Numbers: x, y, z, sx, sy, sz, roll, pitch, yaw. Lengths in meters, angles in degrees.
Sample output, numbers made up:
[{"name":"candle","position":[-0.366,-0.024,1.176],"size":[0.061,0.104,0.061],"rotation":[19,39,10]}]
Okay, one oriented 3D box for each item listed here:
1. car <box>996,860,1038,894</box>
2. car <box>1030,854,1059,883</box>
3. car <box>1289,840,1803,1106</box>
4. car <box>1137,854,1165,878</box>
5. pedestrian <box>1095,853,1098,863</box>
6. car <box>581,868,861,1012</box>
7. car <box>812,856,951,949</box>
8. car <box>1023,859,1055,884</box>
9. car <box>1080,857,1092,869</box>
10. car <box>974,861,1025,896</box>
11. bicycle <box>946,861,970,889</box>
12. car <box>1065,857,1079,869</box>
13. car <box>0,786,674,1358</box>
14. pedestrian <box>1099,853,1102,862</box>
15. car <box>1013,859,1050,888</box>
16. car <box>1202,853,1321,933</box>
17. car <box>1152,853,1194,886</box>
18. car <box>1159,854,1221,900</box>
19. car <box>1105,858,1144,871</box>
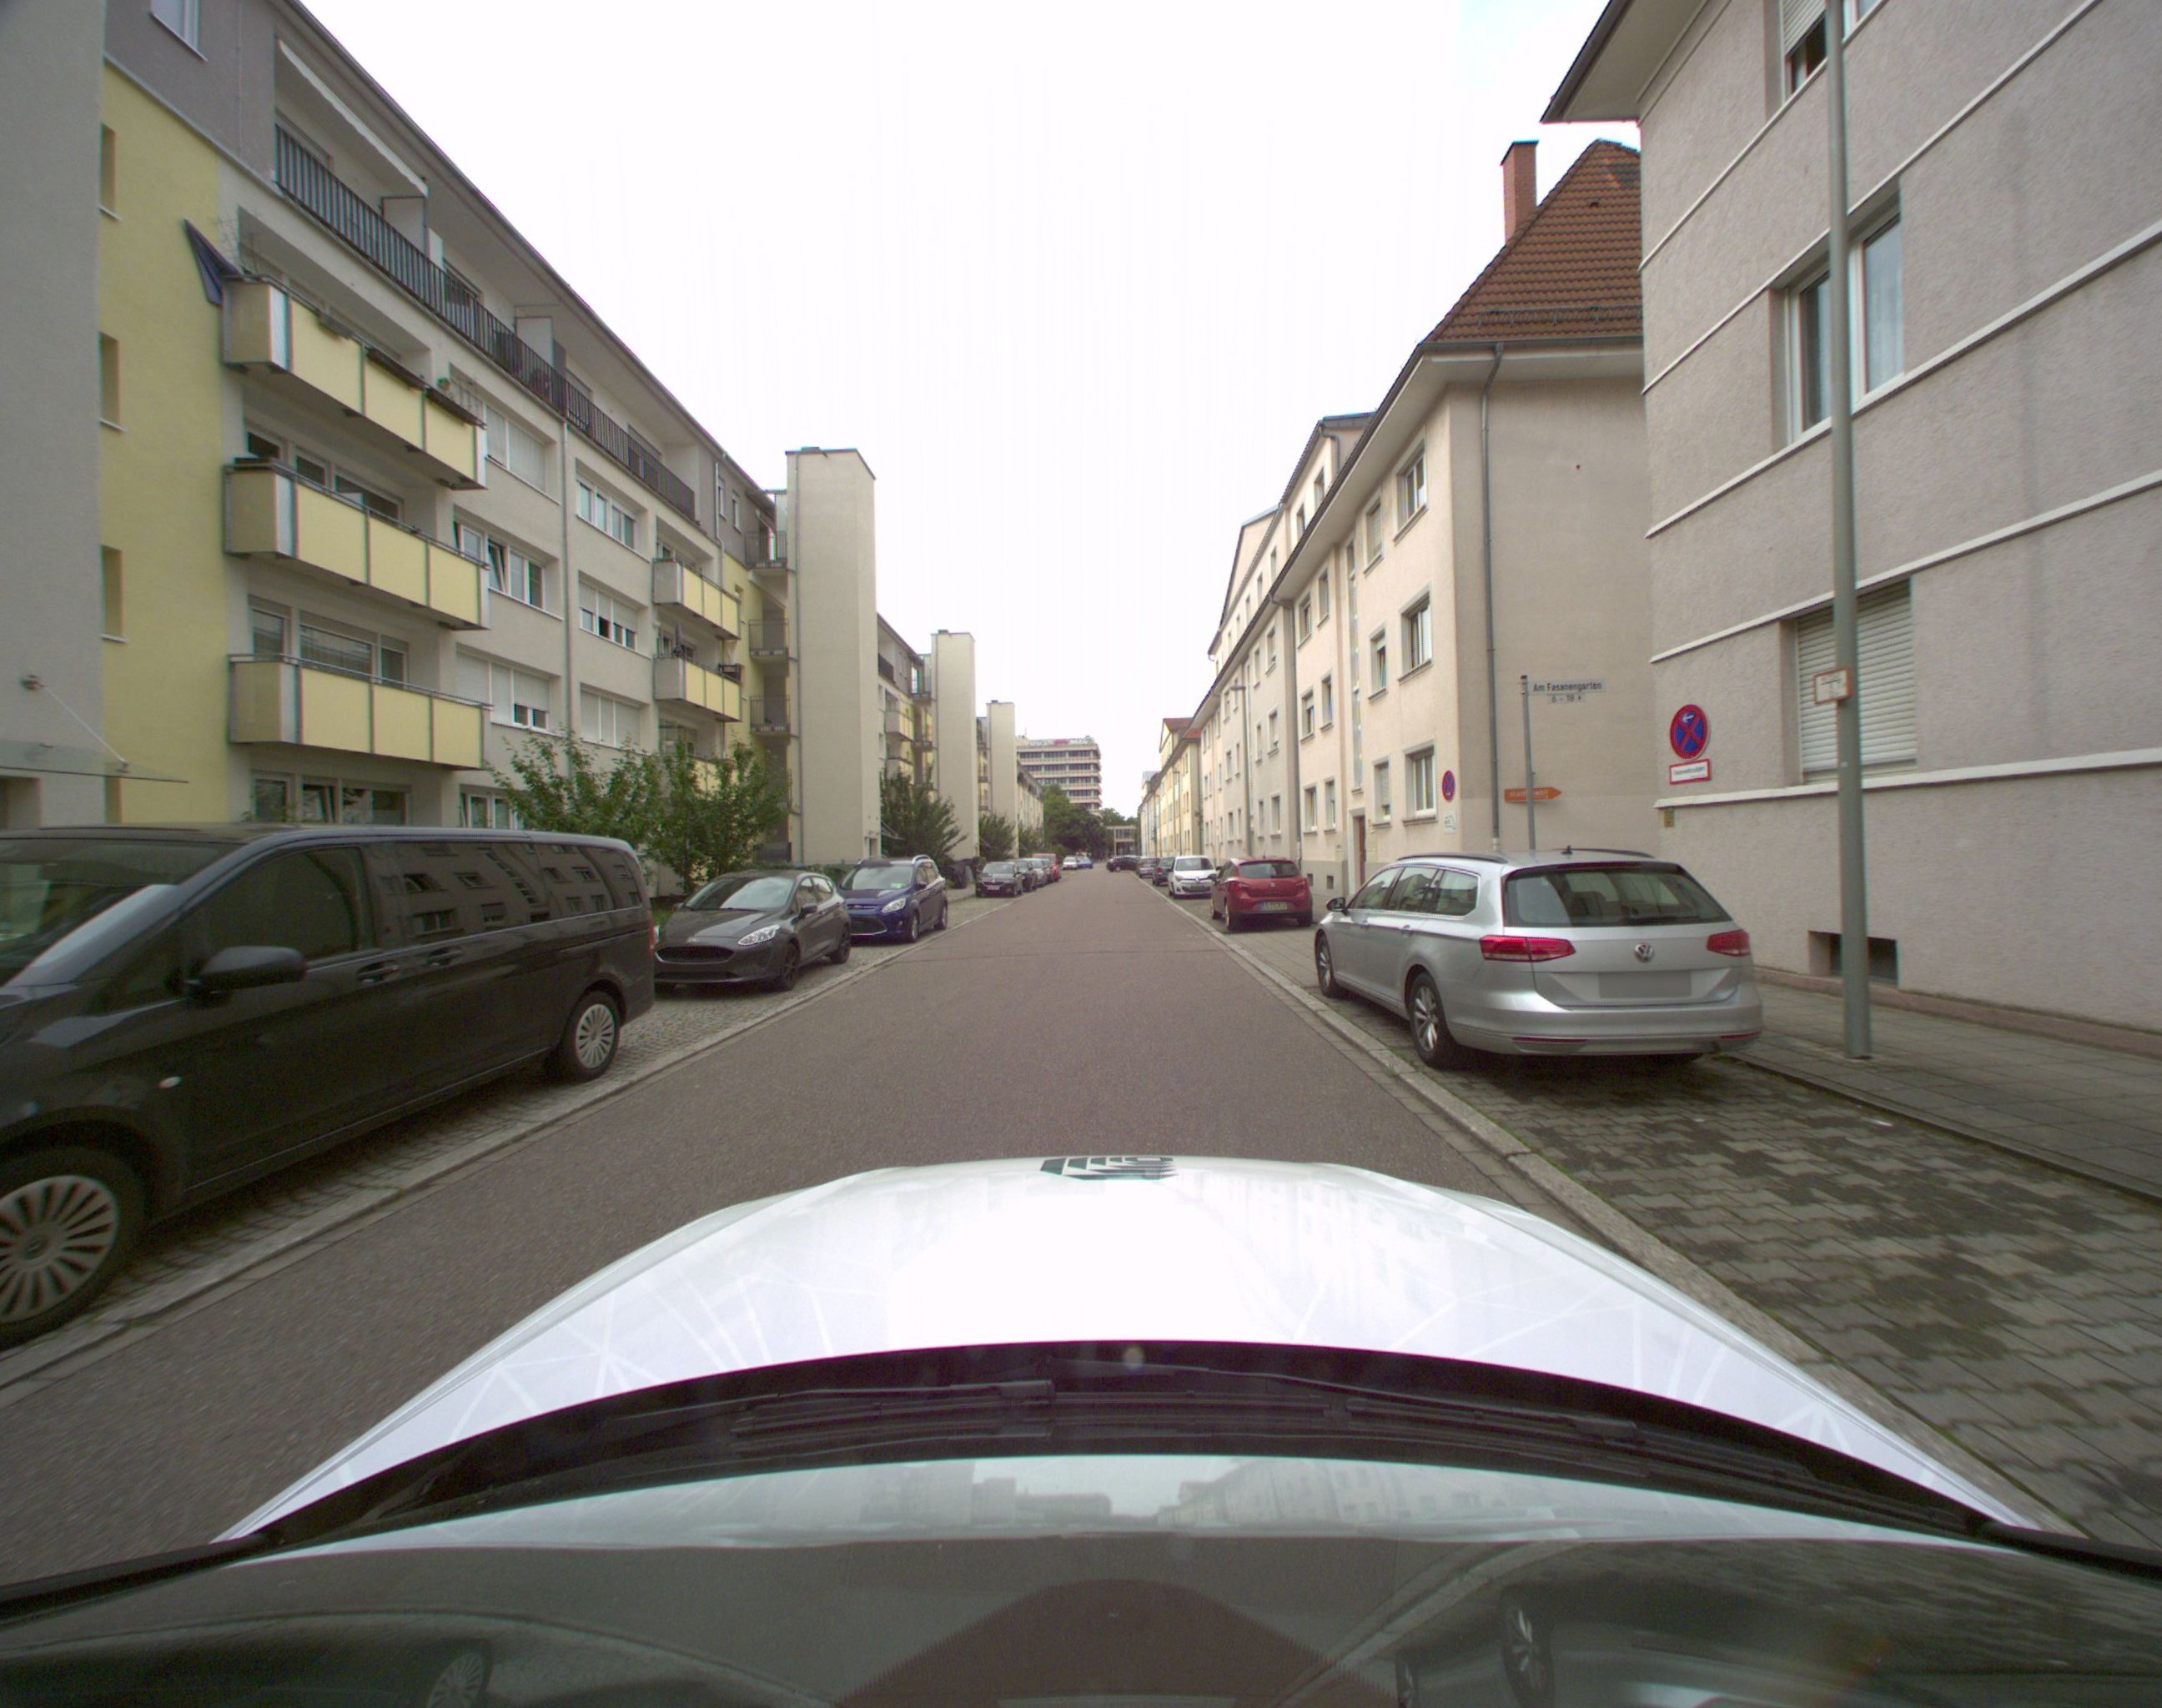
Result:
[{"name":"car","position":[-3.123,1.108,40.612],"size":[1.665,1.564,3.666],"rotation":[-1,0,2]},{"name":"car","position":[-2.505,0.963,56.845],"size":[1.665,1.938,3.743],"rotation":[-1,0,2]},{"name":"car","position":[3.188,0.662,6.856],"size":[1.749,1.467,4.601],"rotation":[-1,0,1]},{"name":"car","position":[4.927,0.839,57.785],"size":[1.812,1.577,3.886],"rotation":[-1,0,2]},{"name":"pedestrian","position":[3.316,0.887,178.714],"size":[0.627,2.013,0.683],"rotation":[1,0,1]},{"name":"car","position":[-4.471,0.967,10.947],"size":[1.824,1.459,4.259],"rotation":[-1,0,0]},{"name":"car","position":[-3.939,0.878,16.861],"size":[1.763,1.643,4.354],"rotation":[-1,0,0]},{"name":"car","position":[-2.619,1.107,51.739],"size":[1.665,1.487,3.743],"rotation":[-1,0,2]},{"name":"car","position":[0.662,1.181,108.392],"size":[1.534,1.450,3.740],"rotation":[-1,0,-1]},{"name":"car","position":[-3.422,1.018,34.870],"size":[1.665,1.352,3.818],"rotation":[-1,0,2]},{"name":"bicycle","position":[-6.107,1.029,40.524],"size":[0.868,1.288,1.892],"rotation":[-1,0,0]},{"name":"car","position":[-1.090,1.065,97.580],"size":[1.533,1.450,3.743],"rotation":[-1,0,2]},{"name":"car","position":[-4.516,0.708,4.577],"size":[1.873,1.904,5.030],"rotation":[1,0,0]},{"name":"pedestrian","position":[4.276,0.835,180.519],"size":[0.627,2.013,0.683],"rotation":[1,0,1]},{"name":"car","position":[-2.788,1.094,46.588],"size":[1.665,1.526,4.255],"rotation":[-1,0,2]},{"name":"car","position":[3.702,0.731,17.373],"size":[1.664,1.420,4.001],"rotation":[-3,0,1]},{"name":"car","position":[4.579,0.748,41.144],"size":[1.812,1.577,3.754],"rotation":[-1,0,2]},{"name":"car","position":[3.826,0.755,29.071],"size":[1.812,1.504,3.754],"rotation":[-1,0,2]},{"name":"car","position":[4.152,1.008,78.089],"size":[3.714,1.214,1.545],"rotation":[-1,0,3]}]
